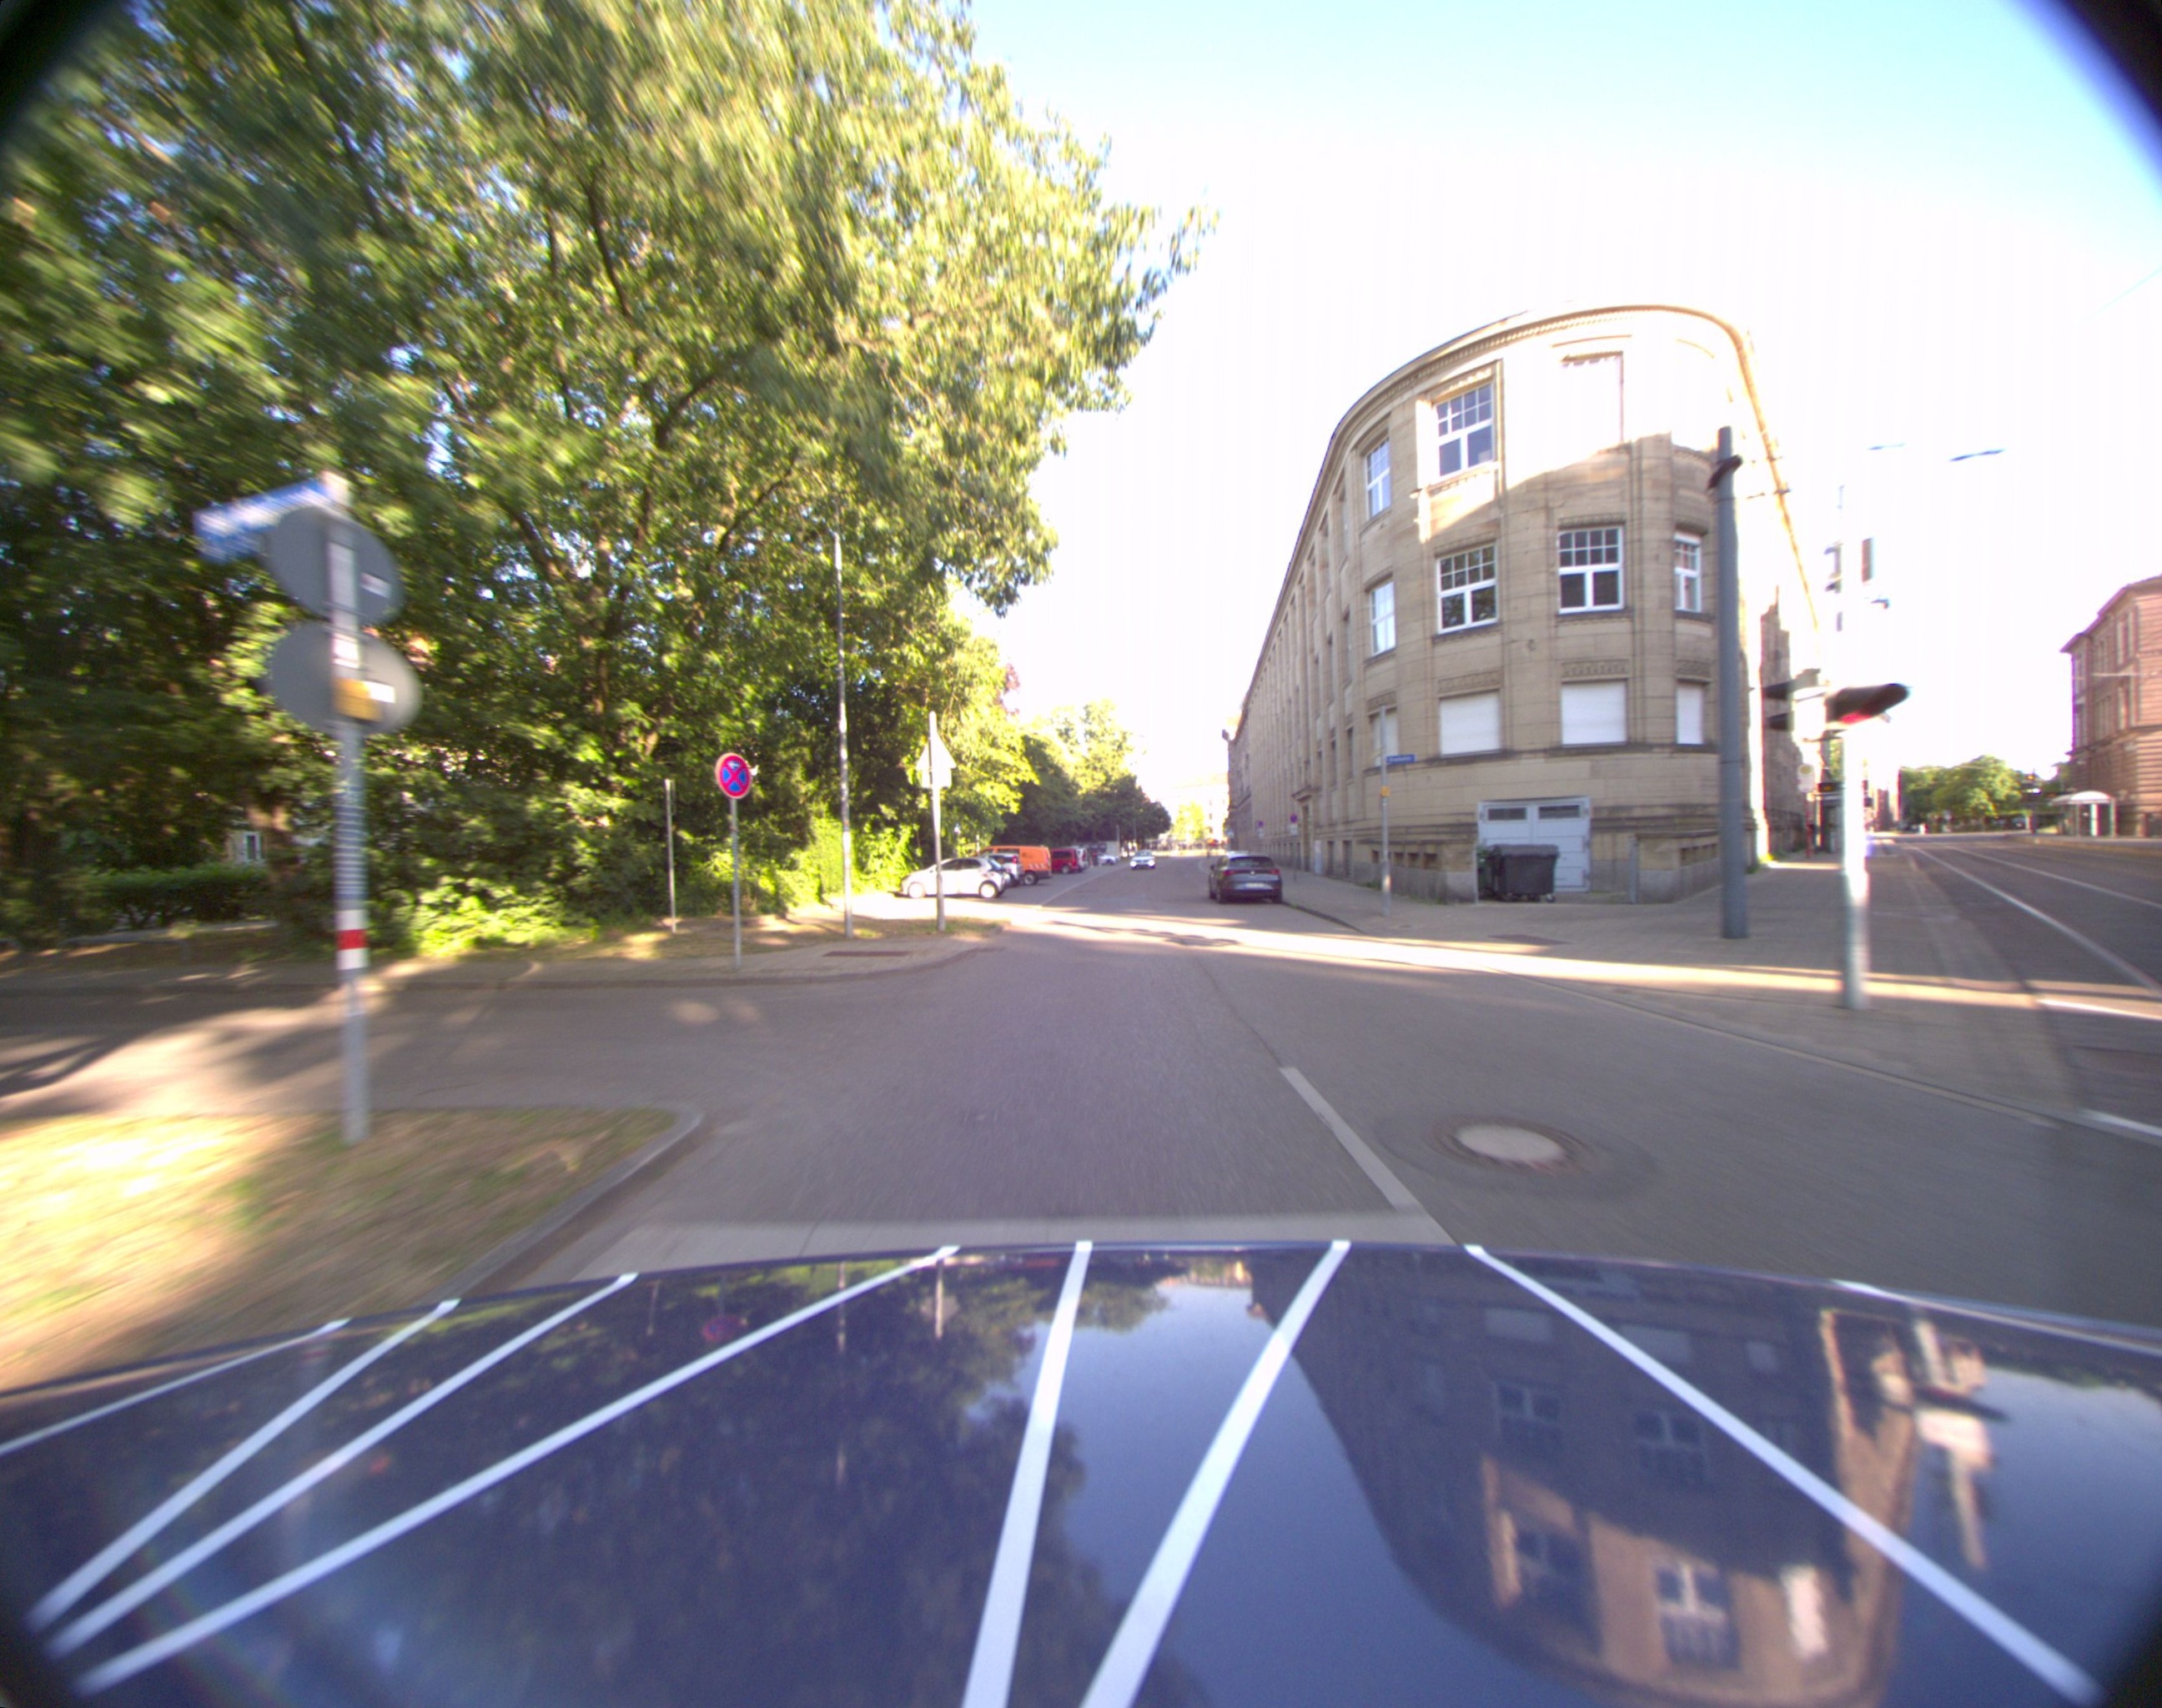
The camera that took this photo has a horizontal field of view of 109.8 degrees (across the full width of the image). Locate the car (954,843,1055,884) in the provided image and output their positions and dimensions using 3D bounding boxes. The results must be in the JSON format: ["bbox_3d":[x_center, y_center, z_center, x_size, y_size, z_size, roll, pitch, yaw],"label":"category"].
[{"bbox_3d":[-3.797,0.458,38.274,4.806,1.986,2.081,0,1,2],"label":"car"}]

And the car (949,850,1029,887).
[{"bbox_3d":[-4.289,0.663,35.577,3.403,1.622,1.680,0,1,6],"label":"car"}]

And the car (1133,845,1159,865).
[{"bbox_3d":[5.310,0.054,61.702,1.686,1.445,4.105,-1,1,11],"label":"car"}]

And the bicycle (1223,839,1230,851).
[{"bbox_3d":[15.795,-0.971,82.471,0.457,1.202,1.880,-1,1,17],"label":"bicycle"}]

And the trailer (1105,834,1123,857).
[{"bbox_3d":[3.901,-1.004,89.644,1.600,2.625,3.704,-1,1,9],"label":"trailer"}]

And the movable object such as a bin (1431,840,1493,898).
[{"bbox_3d":[10.141,0.380,20.301,1.147,1.477,1.629,-1,1,15],"label":"movable object such as a bin"}]

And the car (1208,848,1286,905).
[{"bbox_3d":[4.819,0.583,22.562,1.747,1.440,4.209,-1,1,6],"label":"car"}]

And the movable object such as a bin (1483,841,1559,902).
[{"bbox_3d":[10.949,0.410,18.998,1.184,1.420,1.923,-1,1,15],"label":"movable object such as a bin"}]

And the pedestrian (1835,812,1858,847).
[{"bbox_3d":[40.952,-1.303,40.641,0.823,1.825,0.750,-3,2,-36],"label":"pedestrian"}]

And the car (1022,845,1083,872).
[{"bbox_3d":[-1.980,0.303,54.137,3.978,1.853,1.921,0,2,11],"label":"car"}]

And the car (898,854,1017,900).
[{"bbox_3d":[-4.413,0.808,27.564,3.996,1.538,1.735,0,1,2],"label":"car"}]

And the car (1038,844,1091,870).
[{"bbox_3d":[-1.201,0.215,56.594,3.607,1.873,1.784,0,2,10],"label":"car"}]

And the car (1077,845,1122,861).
[{"bbox_3d":[1.934,-0.100,78.900,4.439,1.458,1.712,-1,1,9],"label":"car"}]

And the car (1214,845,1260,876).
[{"bbox_3d":[8.144,0.282,39.964,1.747,1.426,4.561,-3,1,5],"label":"car"}]
